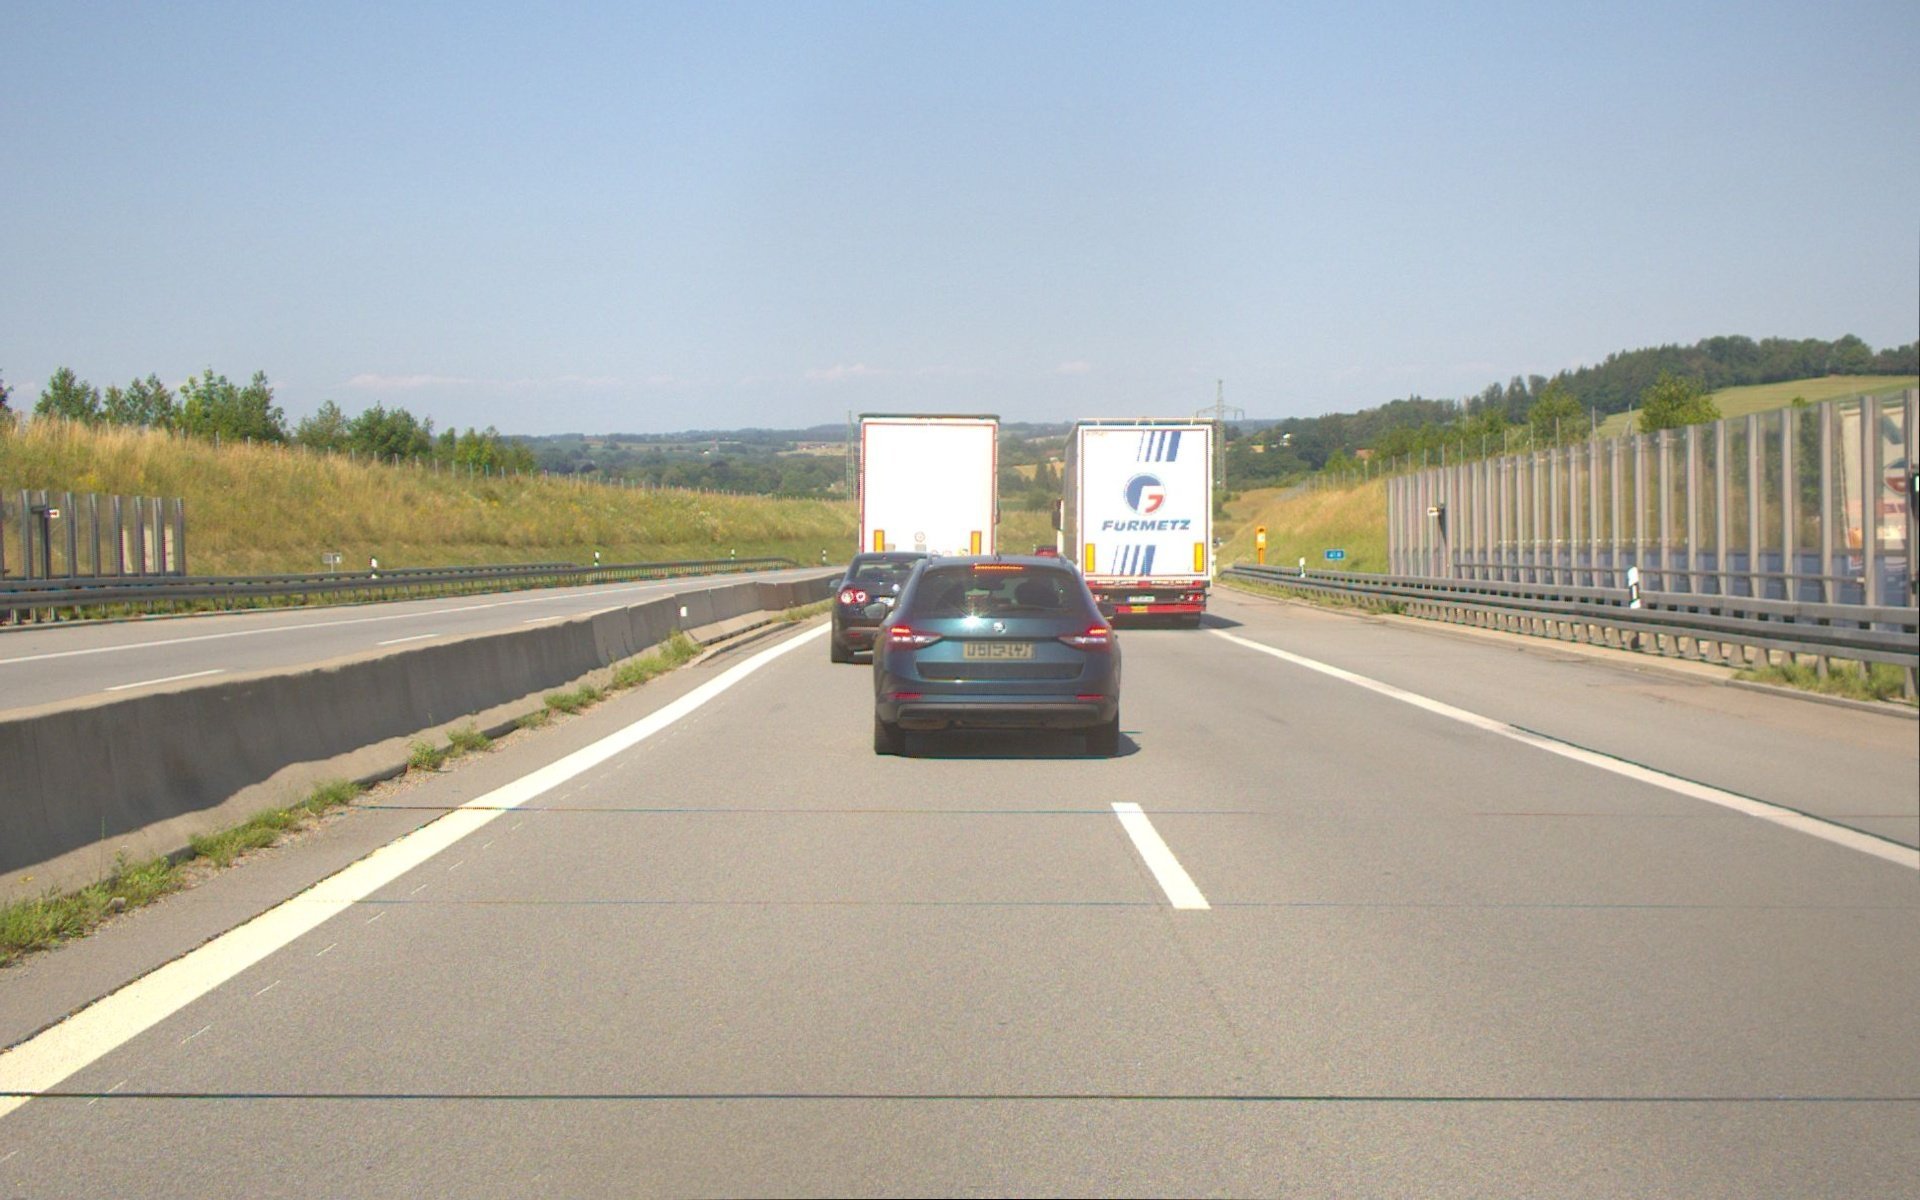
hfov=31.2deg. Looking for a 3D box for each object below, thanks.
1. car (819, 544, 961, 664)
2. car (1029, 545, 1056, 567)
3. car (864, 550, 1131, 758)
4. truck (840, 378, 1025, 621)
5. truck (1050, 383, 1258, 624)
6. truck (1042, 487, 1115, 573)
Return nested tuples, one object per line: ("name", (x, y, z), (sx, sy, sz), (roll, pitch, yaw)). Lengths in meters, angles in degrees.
("car", (-0.964, 0.019, 45.170), (1.700, 1.436, 4.001), (-2, 1, -3))
("car", (5.511, -2.953, 230.021), (1.700, 1.436, 4.000), (0, 1, 0))
("car", (0.209, 0.350, 25.835), (1.776, 1.436, 3.789), (0, 1, -3))
("truck", (-0.401, -1.958, 69.074), (3.211, 4.366, 11.233), (-2, 1, 1))
("truck", (3.770, -1.915, 69.886), (3.604, 4.366, 11.233), (-2, 1, 1))
("truck", (6.387, -3.774, 186.450), (3.604, 4.366, 11.233), (-2, 1, 1))
